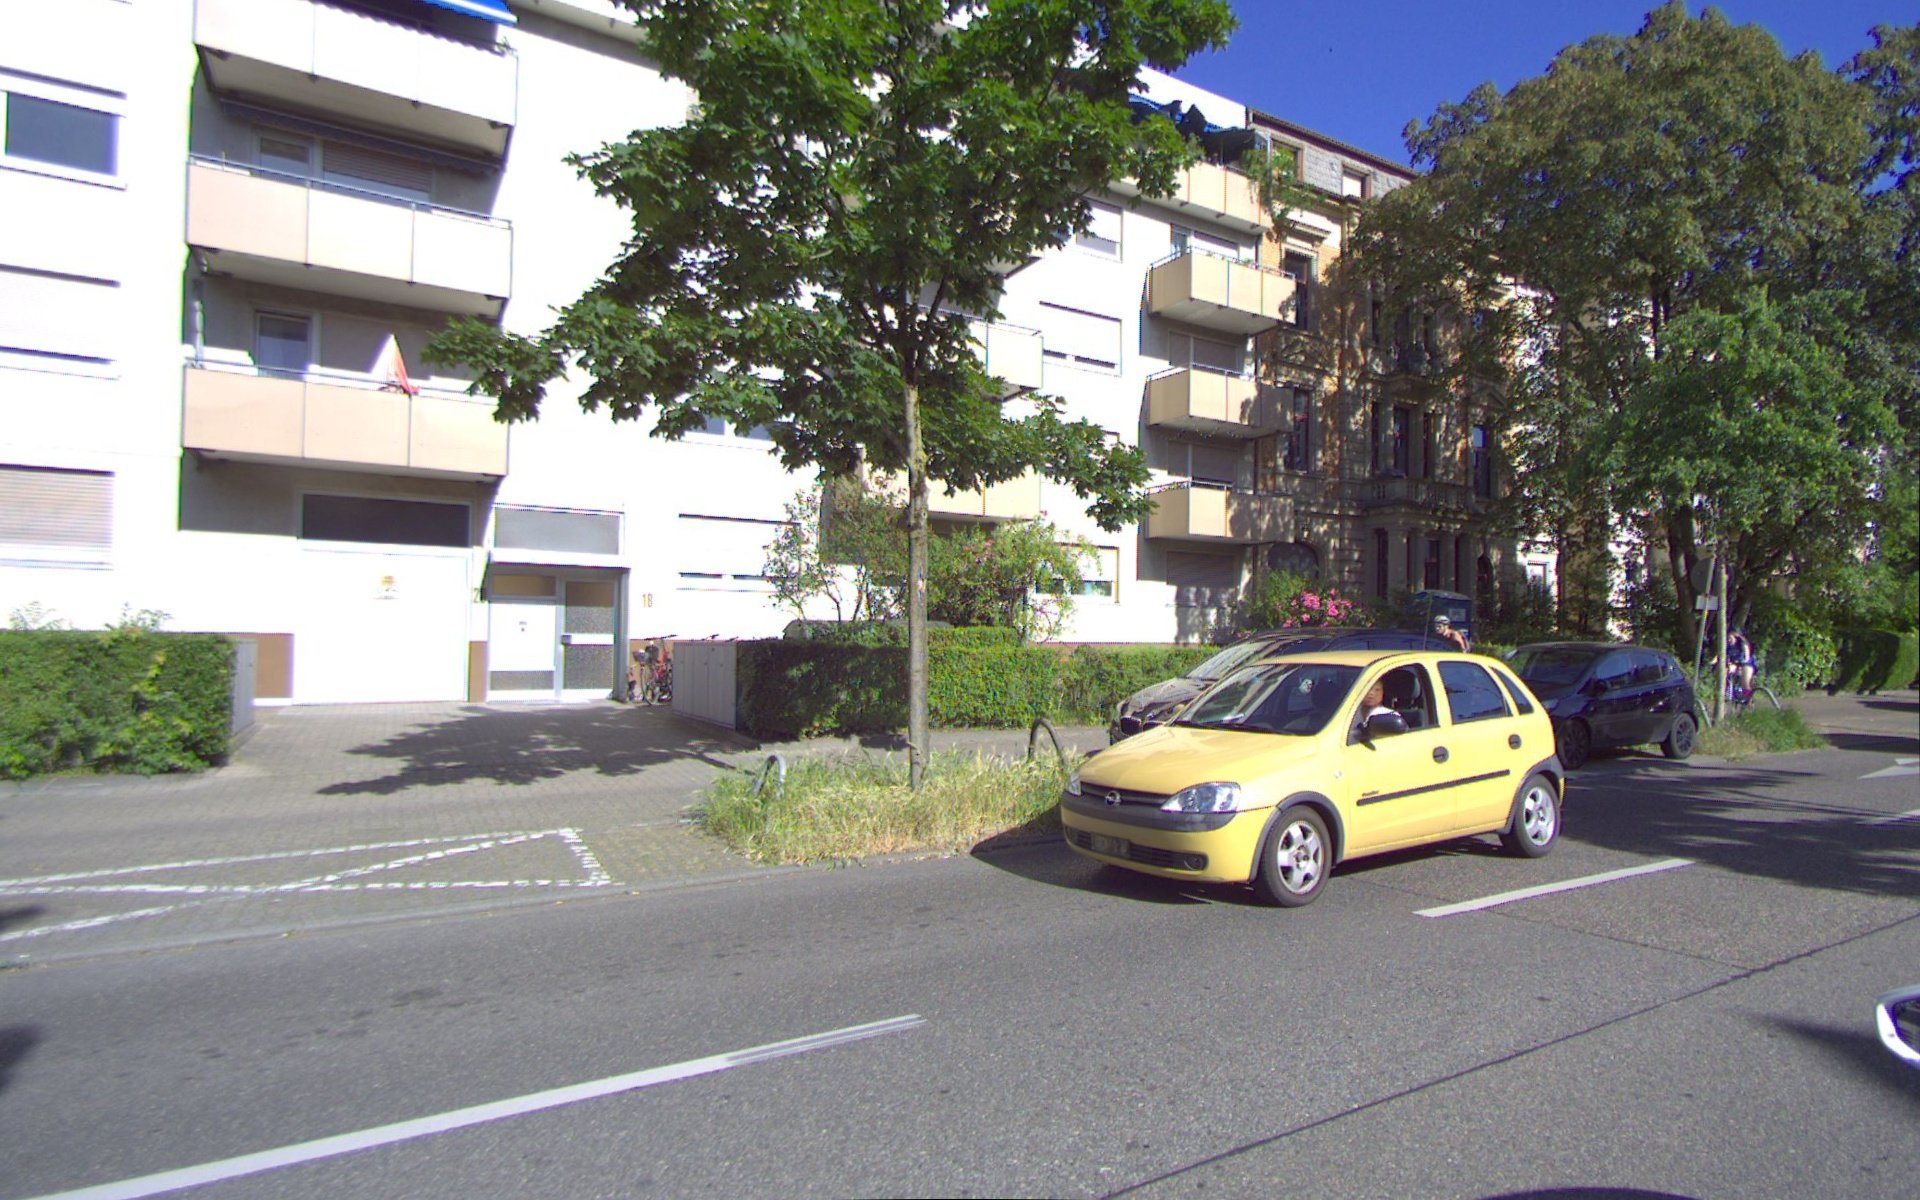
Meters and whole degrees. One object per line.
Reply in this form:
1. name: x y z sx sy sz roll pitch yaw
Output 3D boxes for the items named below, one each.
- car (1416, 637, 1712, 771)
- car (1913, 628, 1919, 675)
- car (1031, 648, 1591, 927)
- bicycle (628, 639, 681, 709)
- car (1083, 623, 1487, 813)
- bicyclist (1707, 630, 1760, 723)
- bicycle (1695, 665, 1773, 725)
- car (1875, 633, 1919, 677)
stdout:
1. car: 7.947 1.274 13.156 3.883 1.496 1.595 2 -1 -29
2. car: 40.958 2.123 39.881 4.257 1.904 1.873 0 -1 35
3. car: 2.454 1.054 6.826 3.694 1.421 1.626 2 -4 -32
4. bicycle: -5.215 1.243 17.216 0.494 1.075 1.559 0 0 -3
5. car: 3.527 1.103 10.607 4.345 1.626 1.661 2 -1 -32
6. bicyclist: 15.123 1.485 19.644 0.683 1.777 0.606 2 -2 -30
7. bicycle: 15.120 1.833 19.620 1.723 1.087 0.606 2 -2 -31
8. car: 38.201 2.164 38.915 3.857 1.666 1.674 0 -1 36
